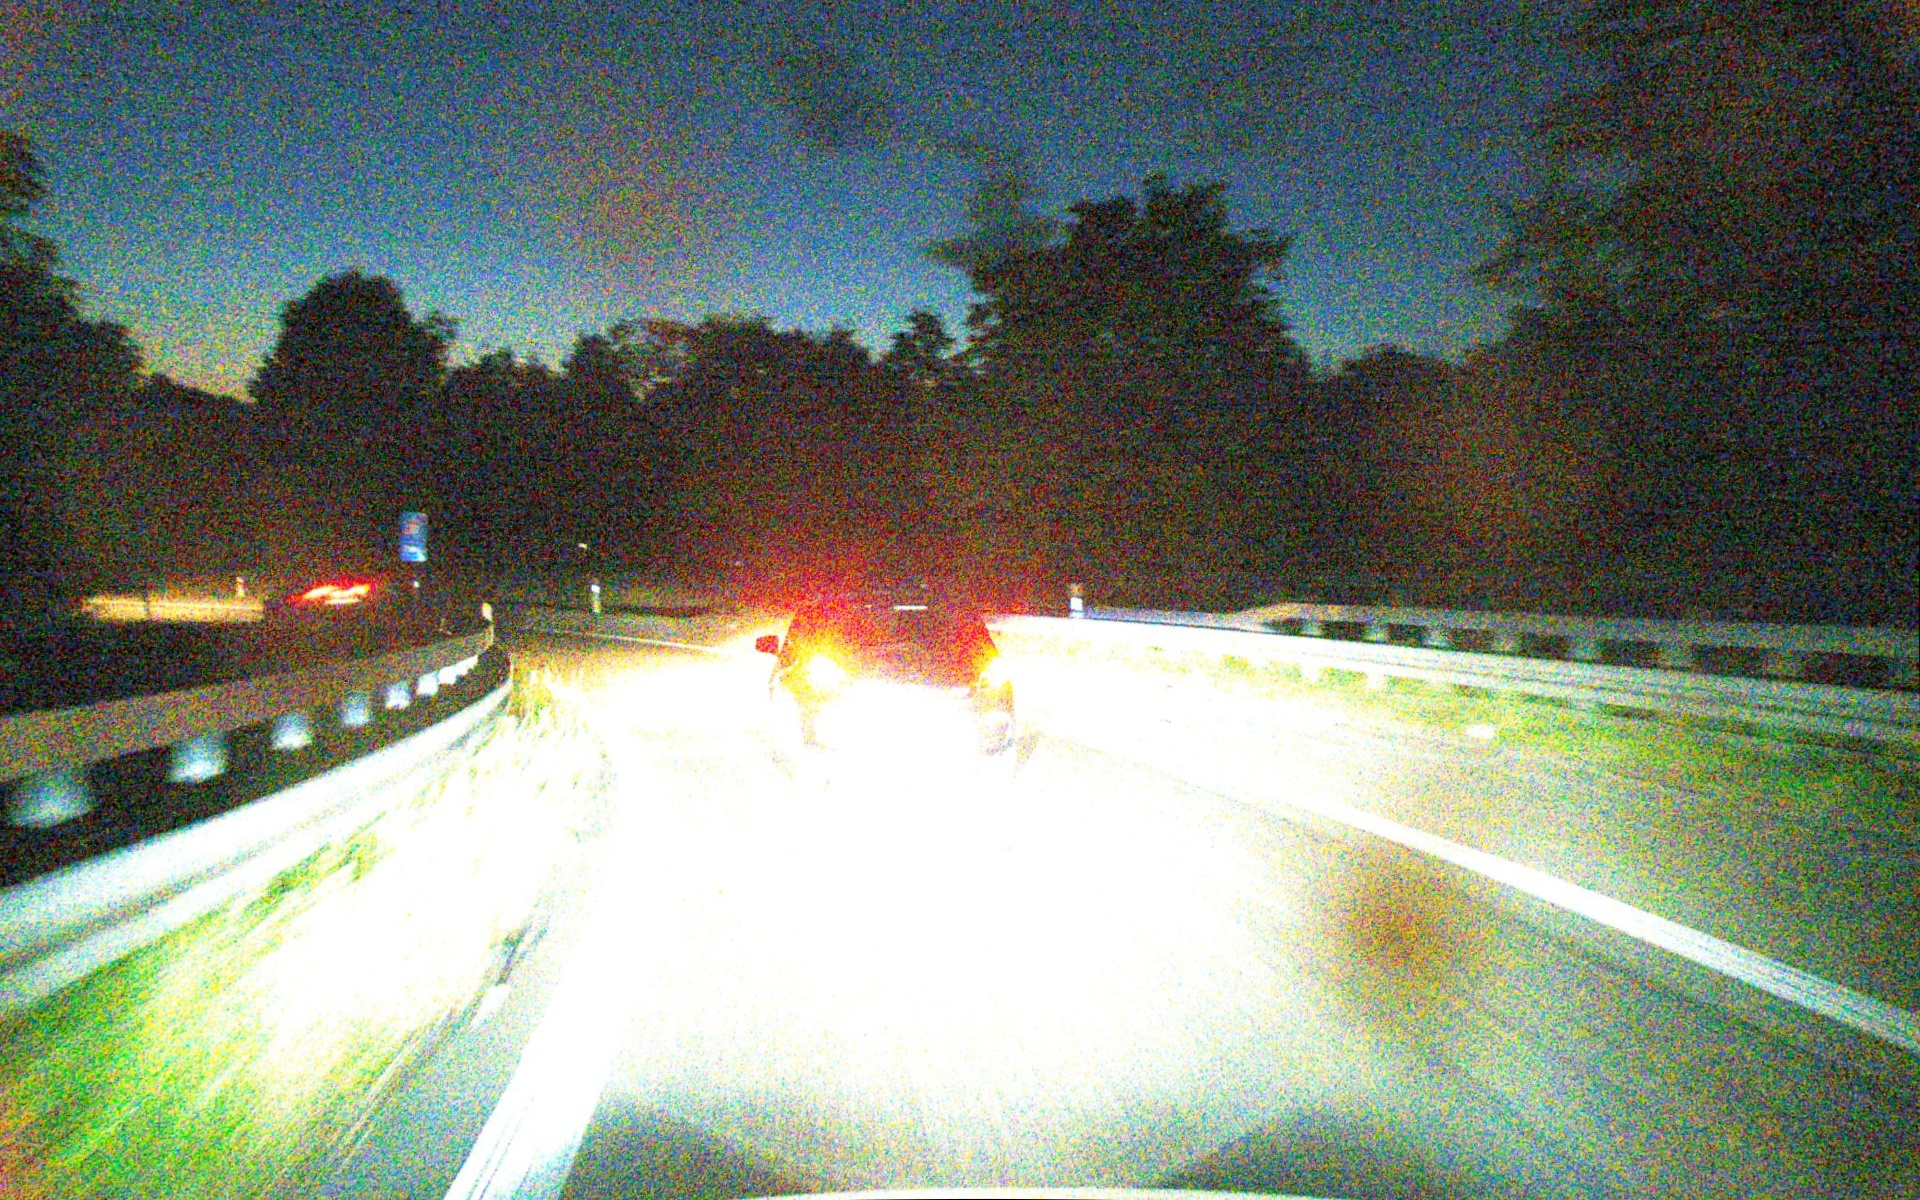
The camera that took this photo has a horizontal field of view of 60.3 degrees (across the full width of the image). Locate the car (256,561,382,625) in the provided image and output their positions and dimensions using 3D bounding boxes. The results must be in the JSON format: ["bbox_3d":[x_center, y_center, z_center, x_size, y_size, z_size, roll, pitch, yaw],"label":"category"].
[{"bbox_3d":[-19.402,-0.253,49.994,4.170,1.564,1.945,4,7,44],"label":"car"}]

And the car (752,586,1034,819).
[{"bbox_3d":[-0.694,0.682,13.392,1.661,1.503,3.989,-2,1,-11],"label":"car"}]
